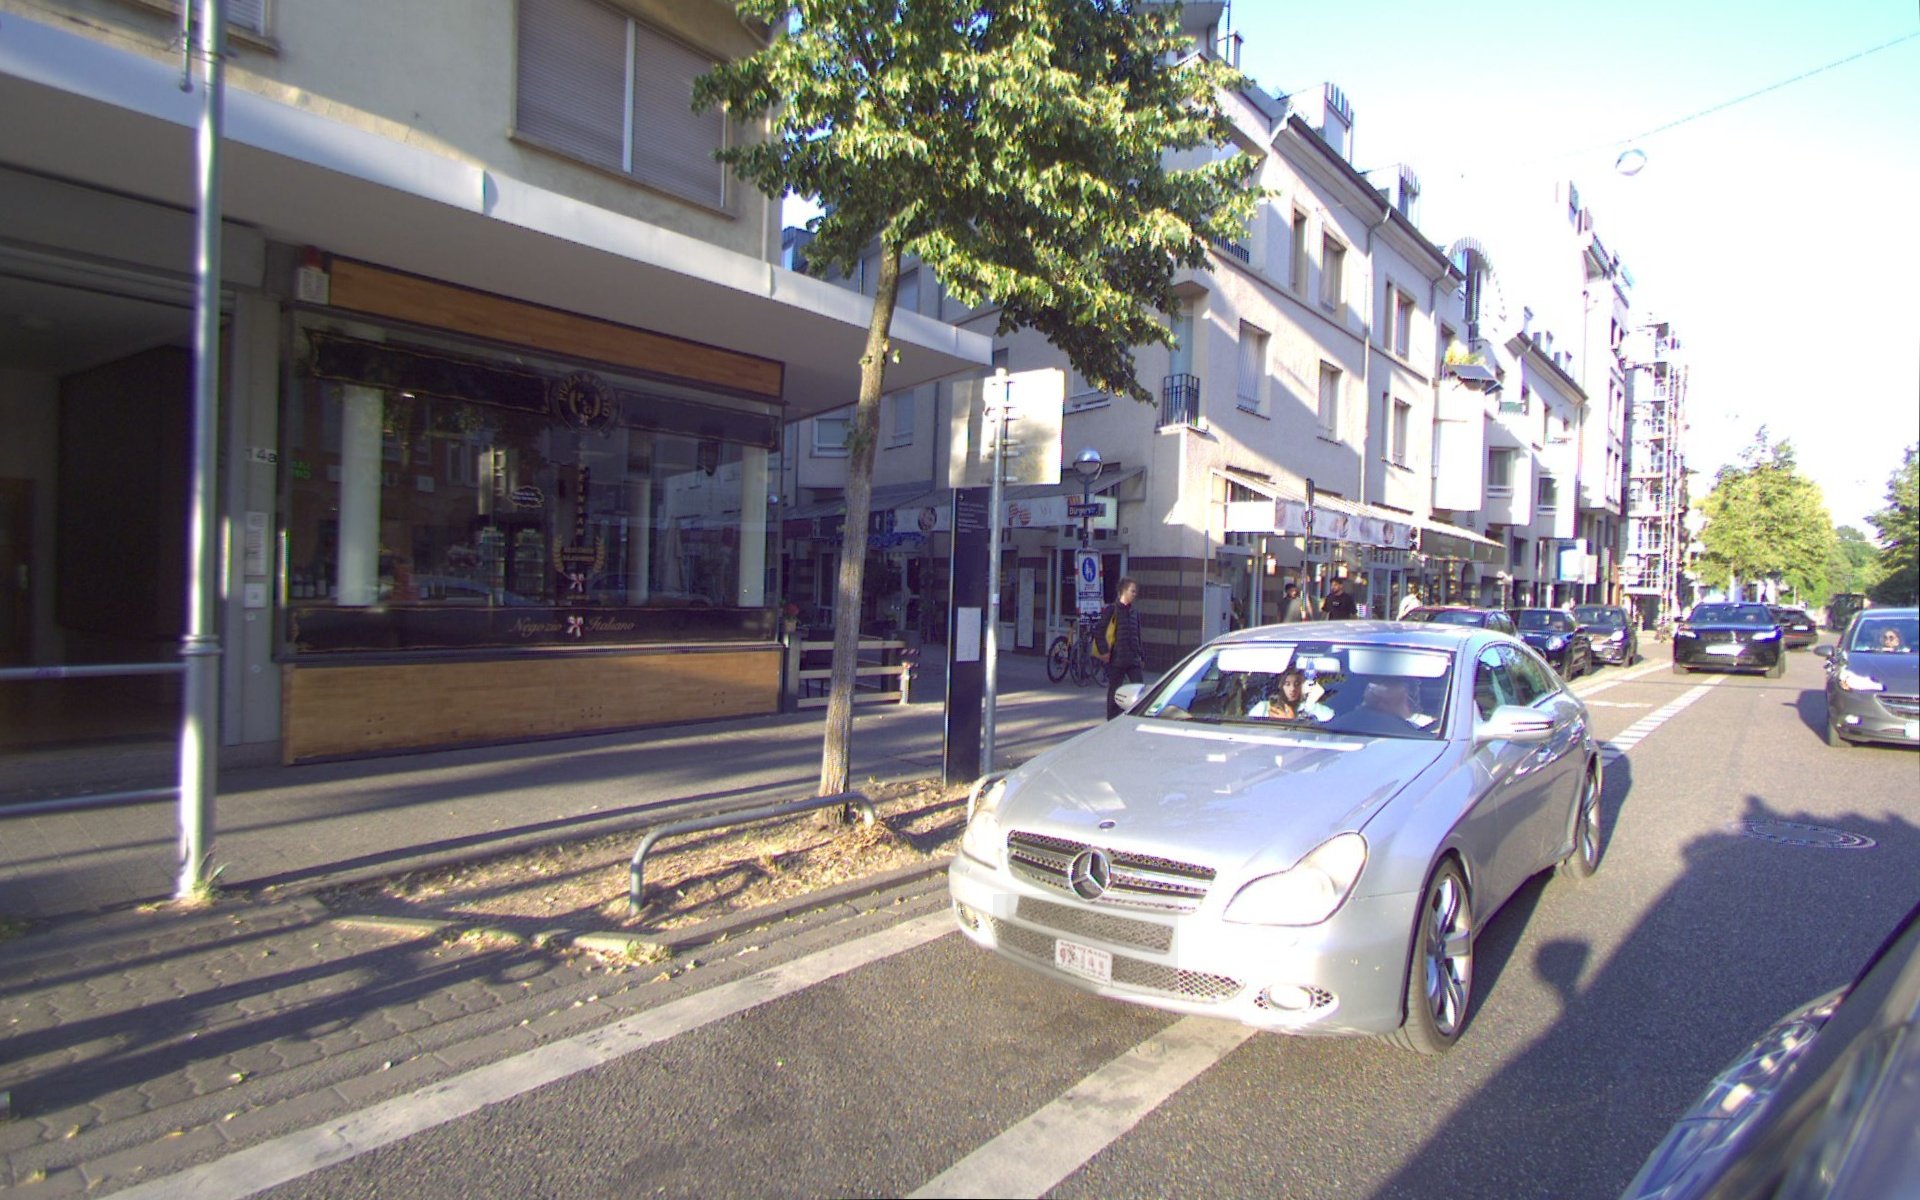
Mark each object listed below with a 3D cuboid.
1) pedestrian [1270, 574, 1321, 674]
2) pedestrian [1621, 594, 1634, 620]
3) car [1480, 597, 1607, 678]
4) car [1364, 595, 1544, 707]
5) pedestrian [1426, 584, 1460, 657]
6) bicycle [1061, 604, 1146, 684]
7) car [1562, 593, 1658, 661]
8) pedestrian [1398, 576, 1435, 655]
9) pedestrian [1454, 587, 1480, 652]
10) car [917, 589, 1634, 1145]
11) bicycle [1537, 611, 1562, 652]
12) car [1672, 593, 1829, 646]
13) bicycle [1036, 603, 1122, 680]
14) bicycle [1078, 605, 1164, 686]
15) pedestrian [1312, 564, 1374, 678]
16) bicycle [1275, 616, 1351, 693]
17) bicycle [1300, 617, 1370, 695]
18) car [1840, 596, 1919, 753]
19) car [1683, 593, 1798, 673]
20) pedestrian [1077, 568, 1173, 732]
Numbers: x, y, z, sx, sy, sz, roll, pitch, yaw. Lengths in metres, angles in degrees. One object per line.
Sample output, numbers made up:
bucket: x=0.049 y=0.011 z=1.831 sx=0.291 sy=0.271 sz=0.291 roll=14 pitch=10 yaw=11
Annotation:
pedestrian: x=6.131 y=0.427 z=18.491 sx=0.629 sy=1.771 sz=0.660 roll=3 pitch=2 yaw=41
pedestrian: x=32.421 y=0.326 z=49.164 sx=0.490 sy=1.279 sz=0.415 roll=0 pitch=0 yaw=42
car: x=12.243 y=0.711 z=21.115 sx=1.615 sy=1.452 sz=3.868 roll=3 pitch=2 yaw=40
car: x=7.792 y=0.696 z=15.797 sx=1.587 sy=1.451 sz=3.868 roll=4 pitch=2 yaw=40
pedestrian: x=11.109 y=0.464 z=23.290 sx=0.519 sy=1.612 sz=0.402 roll=5 pitch=3 yaw=41
bicycle: x=2.196 y=0.638 z=15.344 sx=0.290 sy=1.118 sz=1.859 roll=2 pitch=1 yaw=41
car: x=17.155 y=0.665 z=26.648 sx=1.615 sy=1.612 sz=3.868 roll=2 pitch=1 yaw=40
pedestrian: x=10.625 y=0.343 z=23.546 sx=0.543 sy=1.779 sz=0.495 roll=5 pitch=3 yaw=41
pedestrian: x=14.492 y=0.551 z=28.946 sx=0.574 sy=1.823 sz=0.443 roll=0 pitch=0 yaw=42
car: x=1.975 y=0.692 z=5.007 sx=1.740 sy=1.418 sz=4.572 roll=-1 pitch=1 yaw=40
bicycle: x=16.297 y=0.853 z=27.970 sx=0.295 sy=1.099 sz=1.441 roll=1 pitch=1 yaw=41
car: x=28.874 y=0.671 z=37.084 sx=1.706 sy=1.696 sz=4.288 roll=1 pitch=1 yaw=-42
bicycle: x=1.869 y=0.613 z=15.698 sx=0.320 sy=1.118 sz=1.851 roll=2 pitch=1 yaw=41
bicycle: x=2.432 y=0.647 z=15.138 sx=0.320 sy=1.118 sz=1.851 roll=2 pitch=1 yaw=41
pedestrian: x=6.595 y=0.353 z=17.434 sx=0.776 sy=1.907 sz=0.660 roll=-2 pitch=-2 yaw=41
bicycle: x=5.312 y=0.791 z=15.173 sx=0.314 sy=1.059 sz=1.853 roll=3 pitch=2 yaw=43
bicycle: x=5.546 y=0.798 z=14.916 sx=0.314 sy=1.059 sz=1.638 roll=3 pitch=2 yaw=43
car: x=10.492 y=0.710 z=10.800 sx=1.616 sy=1.492 sz=3.634 roll=0 pitch=0 yaw=41
car: x=17.938 y=0.689 z=23.190 sx=1.884 sy=1.656 sz=4.165 roll=0 pitch=0 yaw=41
pedestrian: x=1.777 y=0.521 z=11.000 sx=0.688 sy=1.696 sz=0.799 roll=2 pitch=2 yaw=-13
